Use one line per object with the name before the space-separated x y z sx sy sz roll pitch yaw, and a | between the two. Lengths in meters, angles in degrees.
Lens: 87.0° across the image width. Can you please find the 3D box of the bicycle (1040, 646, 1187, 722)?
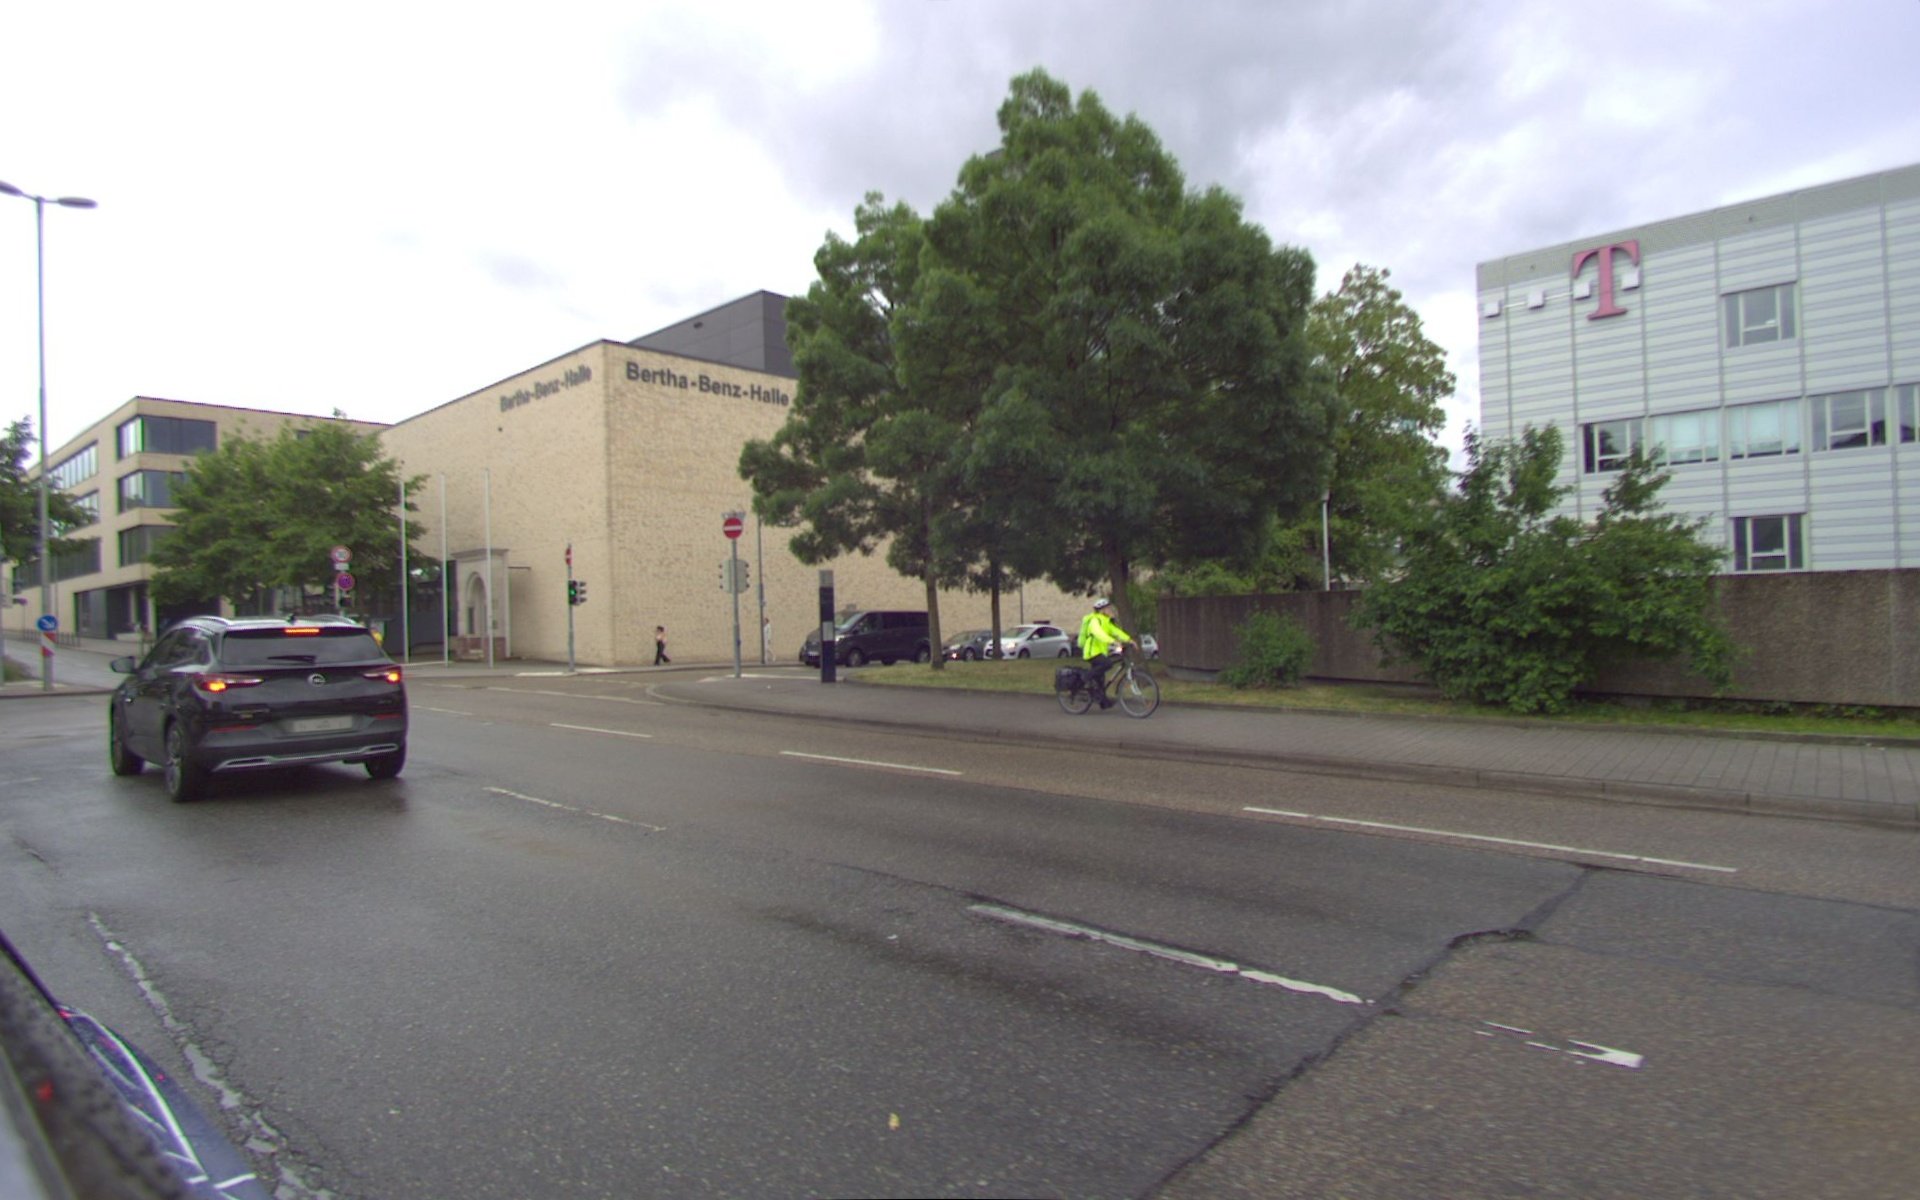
bicycle | 2.145 1.151 14.283 1.867 0.914 0.875 -2 1 44

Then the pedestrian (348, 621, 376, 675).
pedestrian | -20.611 1.646 34.886 0.691 1.784 0.588 -2 1 40

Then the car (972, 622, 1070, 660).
car | 2.490 1.687 40.909 1.999 1.469 3.945 -2 -4 40

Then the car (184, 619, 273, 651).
car | -43.163 2.037 59.769 2.001 1.597 3.942 -2 1 45

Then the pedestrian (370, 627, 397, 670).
pedestrian | -20.922 1.758 36.752 0.691 1.527 0.588 -2 1 40

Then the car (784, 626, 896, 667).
car | -4.460 1.779 38.095 1.997 1.453 3.950 -2 -4 37

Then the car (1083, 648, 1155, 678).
car | 8.368 3.300 53.093 1.999 1.469 3.945 -2 -4 40

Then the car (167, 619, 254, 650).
car | -45.231 2.064 61.134 2.001 1.597 3.942 -2 1 45

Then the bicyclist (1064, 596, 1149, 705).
bicyclist | 2.070 0.689 14.314 0.812 1.453 0.833 -2 1 43

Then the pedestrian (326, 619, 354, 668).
pedestrian | -22.597 1.590 36.888 0.691 1.744 0.589 -2 1 37

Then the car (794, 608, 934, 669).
car | -3.179 1.365 34.439 1.998 1.940 4.730 -2 -4 38

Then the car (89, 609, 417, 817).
car | -7.197 0.957 10.112 4.294 1.606 1.788 -2 -1 42

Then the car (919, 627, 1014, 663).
car | 0.305 1.939 43.341 1.999 1.469 3.945 -2 -4 40

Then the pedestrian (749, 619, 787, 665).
pedestrian | -7.462 1.630 39.335 0.807 1.713 1.099 -2 1 39

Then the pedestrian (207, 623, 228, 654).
pedestrian | -41.129 2.141 56.068 0.792 1.659 0.977 -3 1 -42

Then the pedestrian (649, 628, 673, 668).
pedestrian | -10.713 1.714 36.303 0.475 1.386 0.614 -2 1 42
